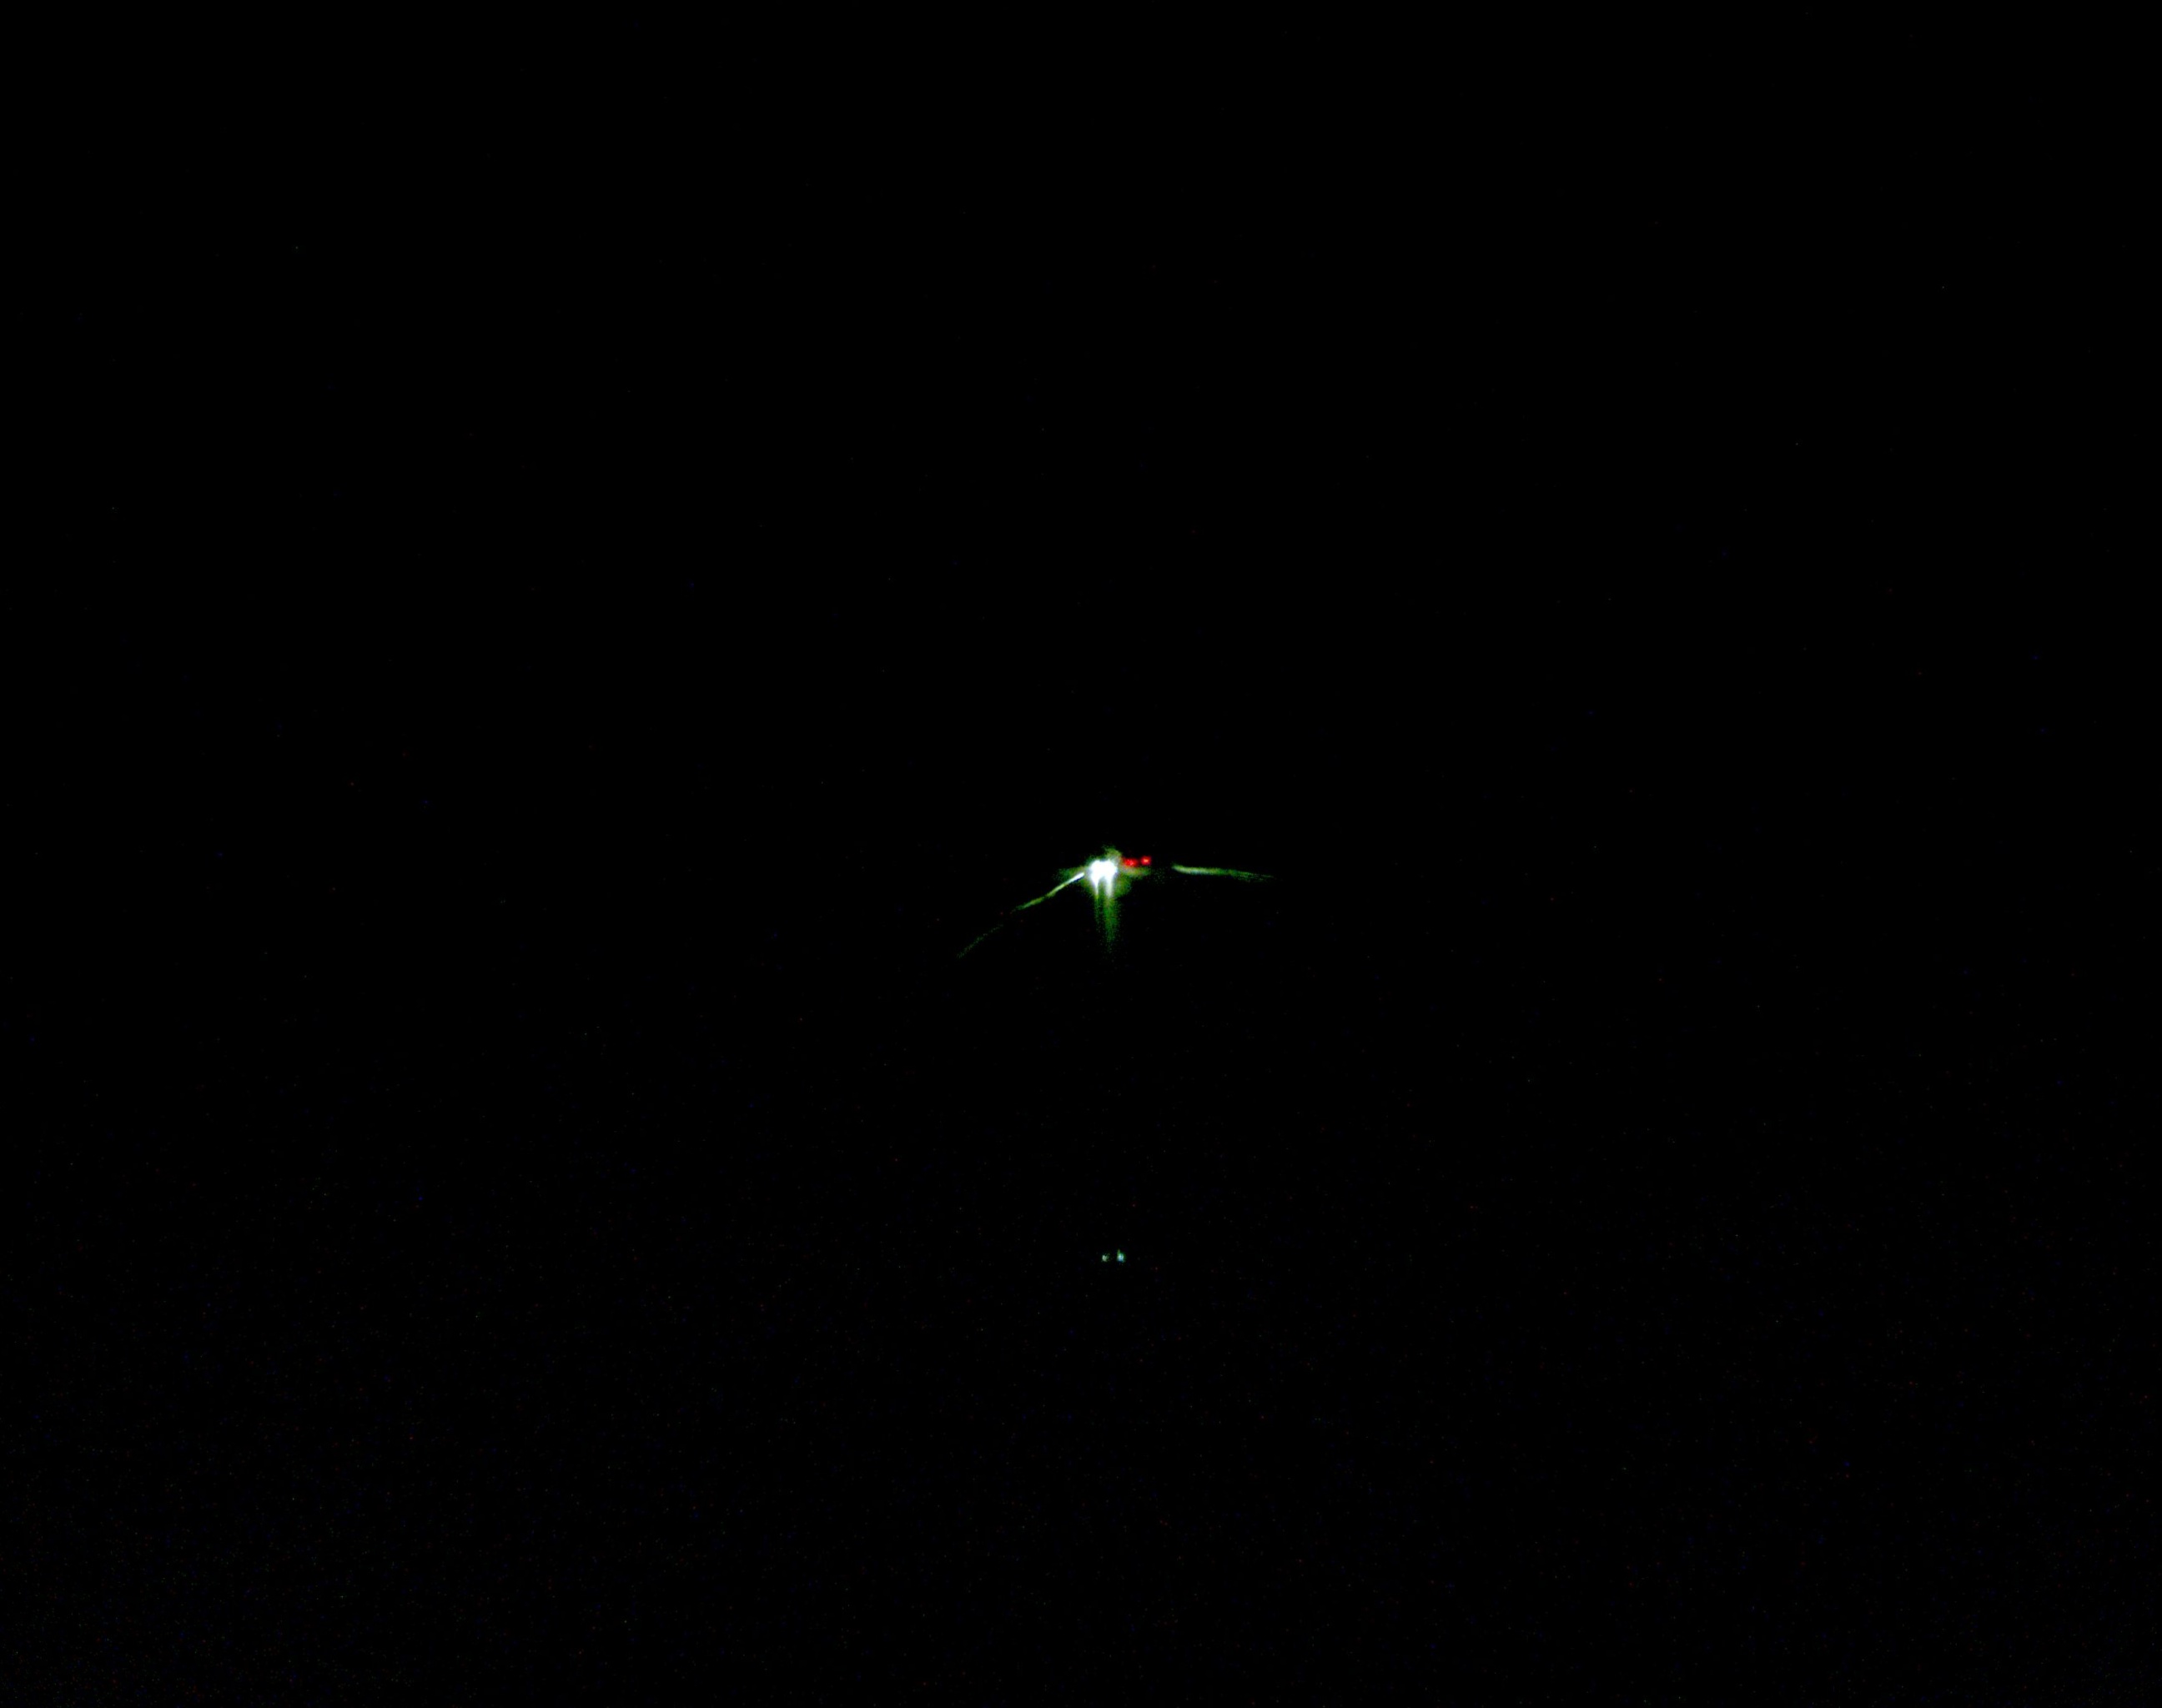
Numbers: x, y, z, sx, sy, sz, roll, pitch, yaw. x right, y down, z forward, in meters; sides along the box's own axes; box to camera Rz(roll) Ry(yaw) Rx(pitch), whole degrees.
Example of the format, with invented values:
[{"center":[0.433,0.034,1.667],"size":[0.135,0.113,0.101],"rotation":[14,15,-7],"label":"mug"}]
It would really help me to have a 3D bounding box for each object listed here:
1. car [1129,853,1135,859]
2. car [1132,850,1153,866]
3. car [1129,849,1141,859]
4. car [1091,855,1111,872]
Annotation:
[{"center":[17.252,0.595,258.467],"size":[1.818,1.724,4.000],"rotation":[-6,1,3],"label":"car"},{"center":[6.190,0.411,76.714],"size":[1.822,1.546,3.871],"rotation":[-1,1,1],"label":"car"},{"center":[8.288,-0.014,117.050],"size":[1.585,1.377,3.585],"rotation":[-3,0,3],"label":"car"},{"center":[2.183,1.003,81.809],"size":[1.998,1.724,4.000],"rotation":[-3,0,3],"label":"car"}]
